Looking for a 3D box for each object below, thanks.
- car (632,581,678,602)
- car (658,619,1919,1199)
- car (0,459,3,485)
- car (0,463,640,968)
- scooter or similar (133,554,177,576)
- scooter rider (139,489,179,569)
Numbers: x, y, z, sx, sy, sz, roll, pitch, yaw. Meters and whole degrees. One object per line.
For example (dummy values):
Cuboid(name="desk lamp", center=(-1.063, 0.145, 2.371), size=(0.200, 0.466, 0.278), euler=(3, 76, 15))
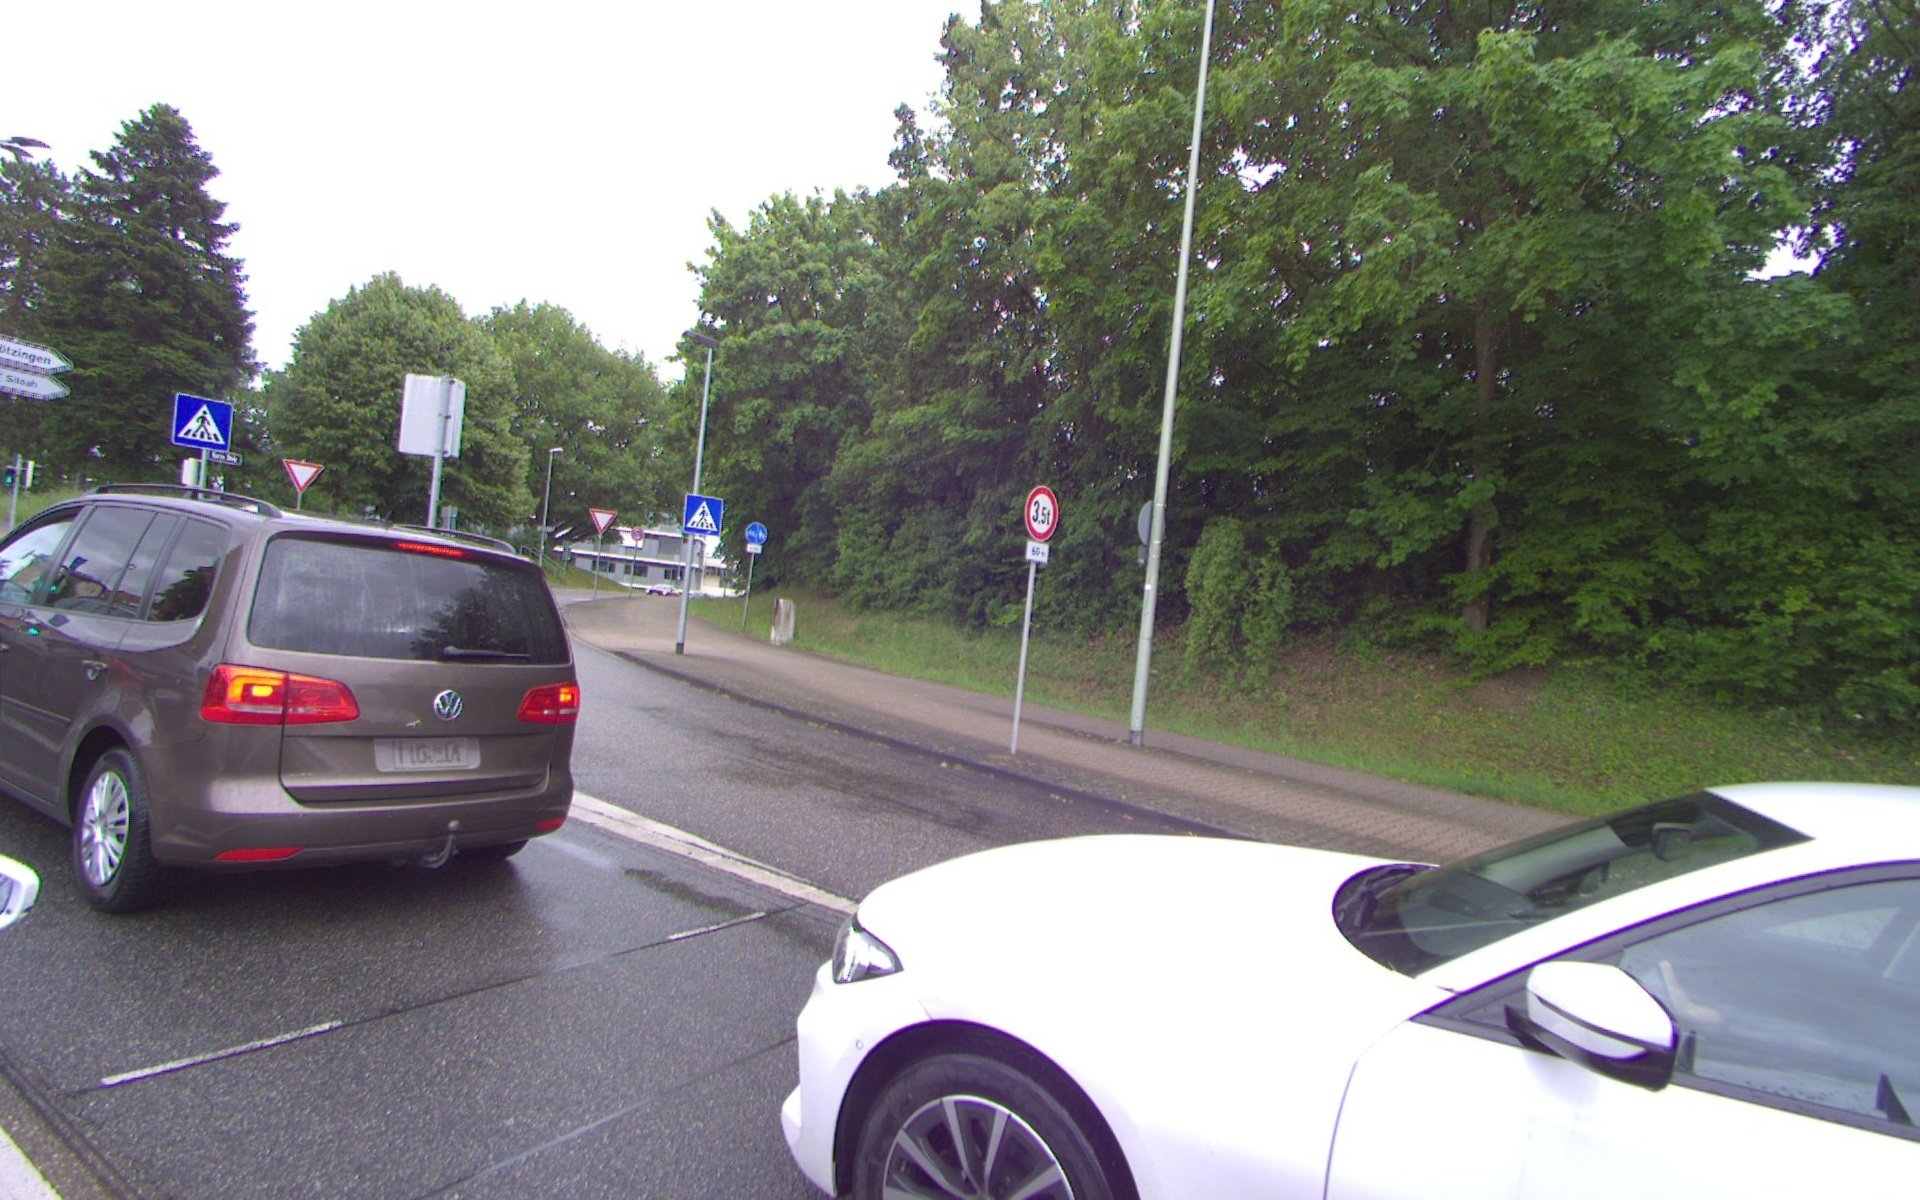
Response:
Cuboid(name="car", center=(-24.604, -0.662, 81.327), size=(1.817, 1.447, 4.000), euler=(5, 0, 11))
Cuboid(name="car", center=(1.776, 1.070, 1.973), size=(4.601, 1.474, 1.783), euler=(6, -2, 30))
Cuboid(name="car", center=(-11.712, -0.732, 10.251), size=(3.741, 1.899, 1.768), euler=(7, -1, 31))
Cuboid(name="car", center=(-3.719, 0.303, 5.084), size=(3.915, 1.628, 1.750), euler=(6, -2, 32))
Cuboid(name="scooter or similar", center=(-20.892, -0.913, 26.107), size=(1.235, 0.408, 0.487), euler=(7, 0, 31))
Cuboid(name="scooter rider", center=(-20.760, -1.839, 26.066), size=(0.538, 1.990, 0.501), euler=(7, 1, 31))
